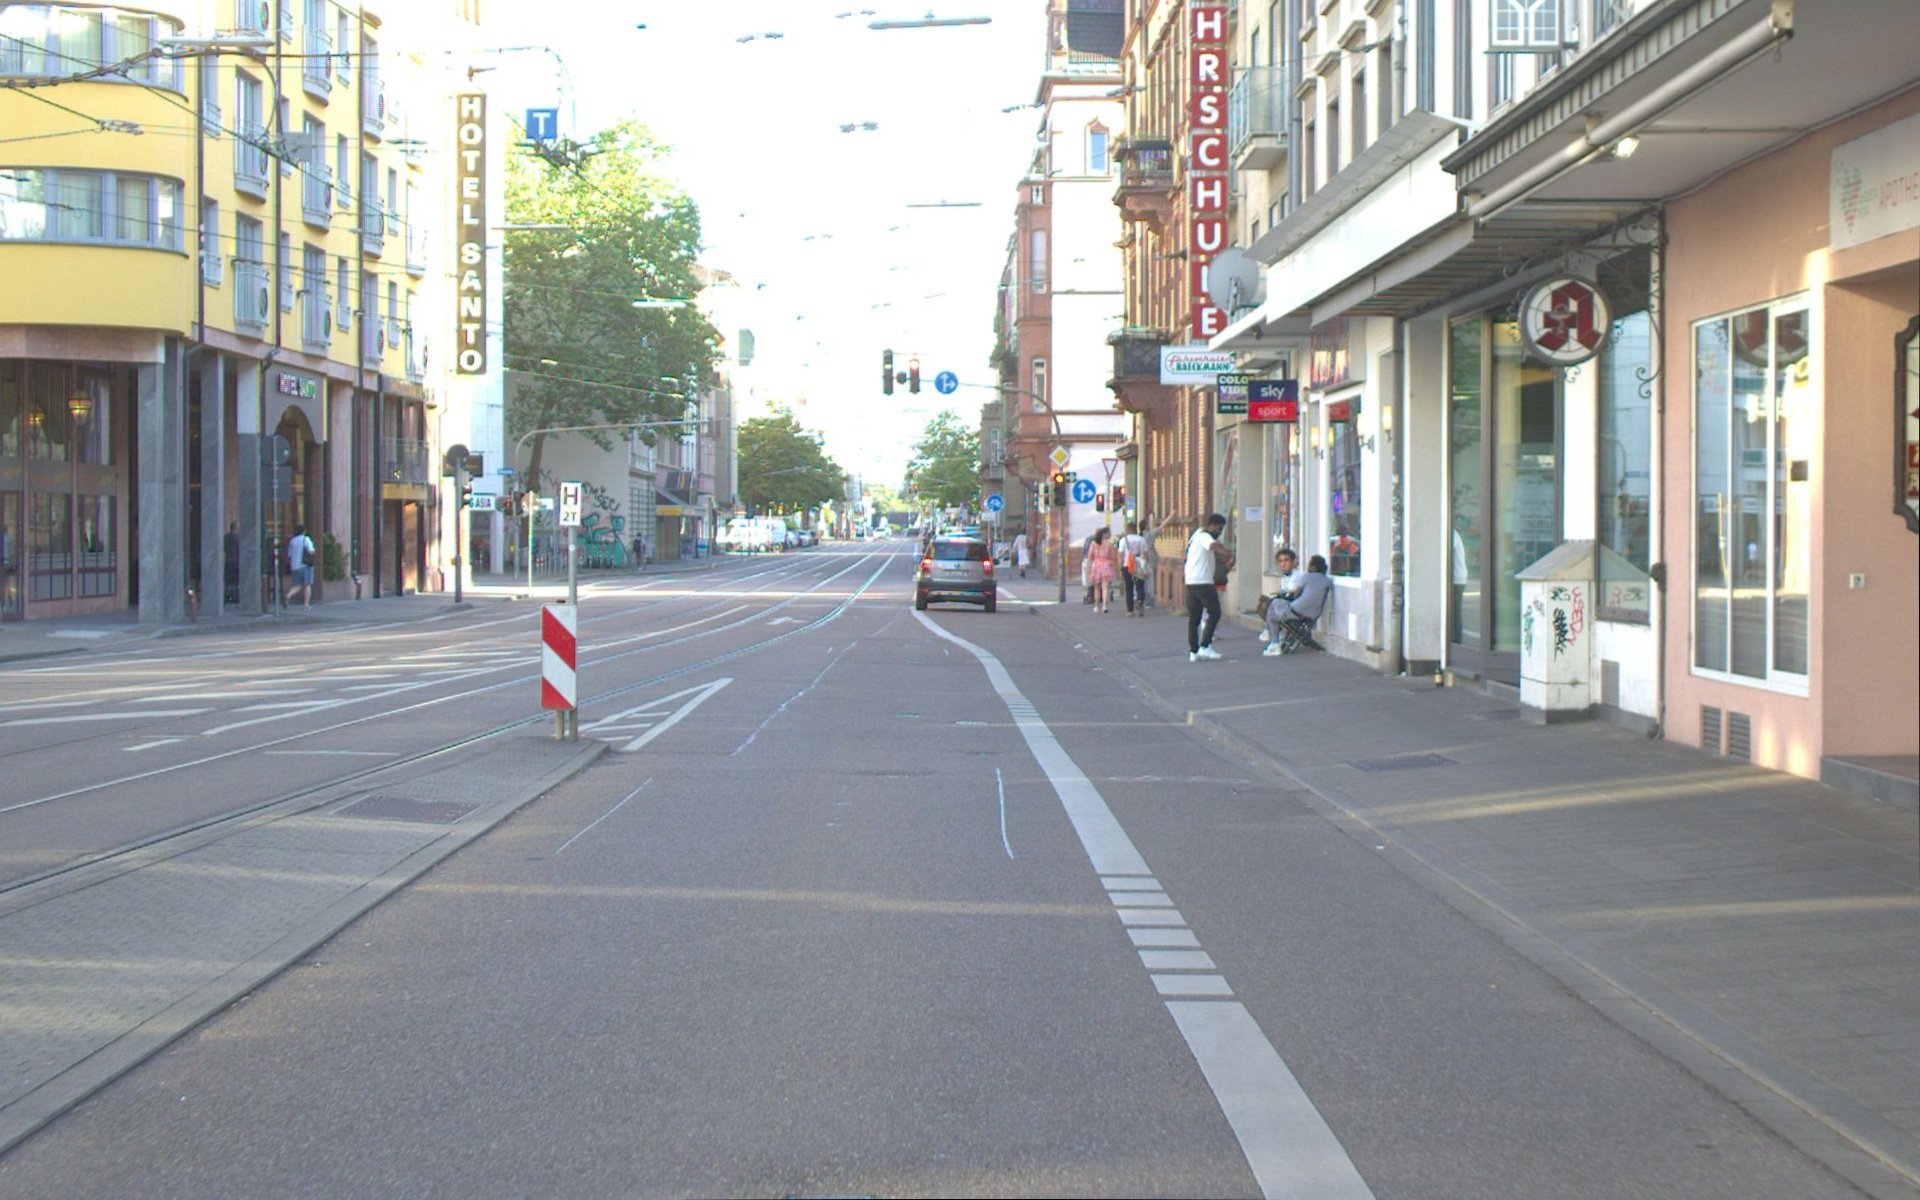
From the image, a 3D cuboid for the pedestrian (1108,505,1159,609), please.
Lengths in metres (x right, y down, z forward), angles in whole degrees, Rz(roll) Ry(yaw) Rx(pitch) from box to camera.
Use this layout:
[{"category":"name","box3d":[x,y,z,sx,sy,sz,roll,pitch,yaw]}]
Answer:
[{"category":"pedestrian","box3d":[3.212,-0.800,63.597,0.848,1.911,1.035,0,1,-2]}]

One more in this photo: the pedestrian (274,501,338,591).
[{"category":"pedestrian","box3d":[-13.347,-1.109,70.222,0.908,1.808,1.151,1,1,11]}]

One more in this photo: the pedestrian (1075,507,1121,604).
[{"category":"pedestrian","box3d":[2.736,-0.879,68.100,0.843,1.911,0.662,0,1,-2]}]

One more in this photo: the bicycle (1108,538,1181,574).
[{"category":"bicycle","box3d":[5.220,-1.238,97.035,1.935,1.000,0.753,0,2,18]}]

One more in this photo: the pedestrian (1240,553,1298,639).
[{"category":"pedestrian","box3d":[3.805,-0.049,42.405,0.690,1.040,0.680,0,1,4]}]

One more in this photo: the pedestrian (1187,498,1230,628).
[{"category":"pedestrian","box3d":[3.463,-0.519,47.927,0.560,1.790,0.650,0,1,6]}]

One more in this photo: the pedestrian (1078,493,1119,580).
[{"category":"pedestrian","box3d":[3.058,-1.411,75.998,0.843,1.911,0.847,0,1,-2]}]

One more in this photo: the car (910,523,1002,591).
[{"category":"car","box3d":[-0.119,-0.986,77.108,1.993,1.444,4.000,1,1,-1]}]

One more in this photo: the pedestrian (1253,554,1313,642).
[{"category":"pedestrian","box3d":[3.880,-0.032,41.348,0.690,1.040,0.680,0,1,4]}]

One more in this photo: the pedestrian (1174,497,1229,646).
[{"category":"pedestrian","box3d":[2.924,-0.352,41.582,0.648,1.790,0.561,0,1,4]}]
